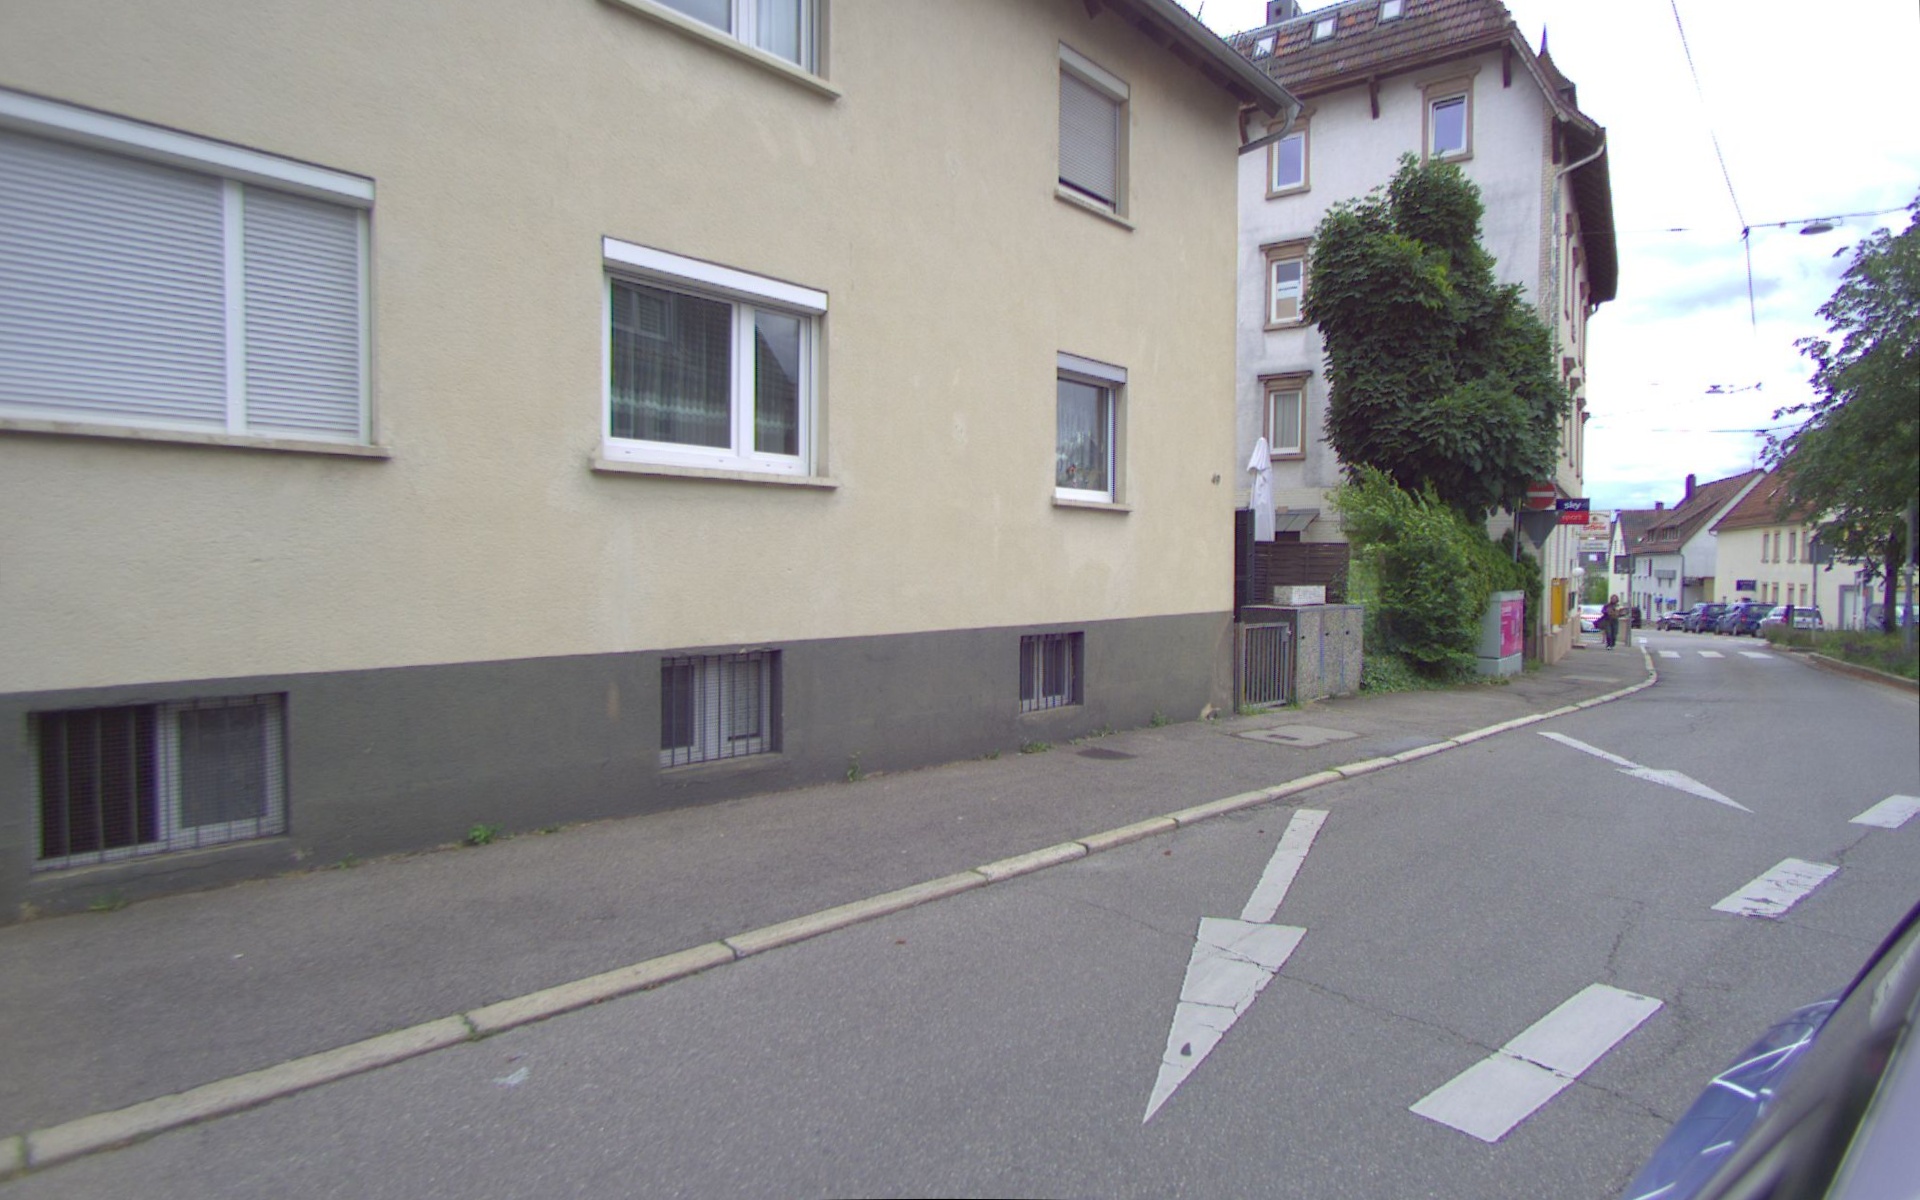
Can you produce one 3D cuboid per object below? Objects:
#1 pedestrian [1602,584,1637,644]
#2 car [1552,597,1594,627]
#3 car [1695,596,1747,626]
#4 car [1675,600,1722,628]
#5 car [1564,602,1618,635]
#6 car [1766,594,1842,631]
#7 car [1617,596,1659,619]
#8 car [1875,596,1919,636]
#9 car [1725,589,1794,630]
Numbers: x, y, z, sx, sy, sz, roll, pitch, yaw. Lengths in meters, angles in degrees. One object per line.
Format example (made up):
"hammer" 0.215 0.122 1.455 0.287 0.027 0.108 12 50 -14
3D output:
"pedestrian" 19.690 0.408 30.230 0.854 1.755 1.009 1 -1 33
"car" 34.531 0.653 57.087 1.611 1.493 3.735 2 2 26
"car" 45.806 0.684 61.005 1.704 1.753 3.964 1 -1 25
"car" 47.984 0.912 65.828 1.704 1.753 3.964 1 -1 25
"car" 32.657 0.950 52.469 1.757 1.498 3.797 4 1 24
"car" 40.255 0.598 48.356 1.756 1.638 3.966 1 -1 24
"car" 56.243 0.639 83.981 2.259 1.753 3.964 1 -1 25
"car" 45.427 0.787 48.045 1.886 1.825 4.841 1 -1 29
"car" 42.652 0.517 54.075 1.756 1.967 4.288 4 1 24
